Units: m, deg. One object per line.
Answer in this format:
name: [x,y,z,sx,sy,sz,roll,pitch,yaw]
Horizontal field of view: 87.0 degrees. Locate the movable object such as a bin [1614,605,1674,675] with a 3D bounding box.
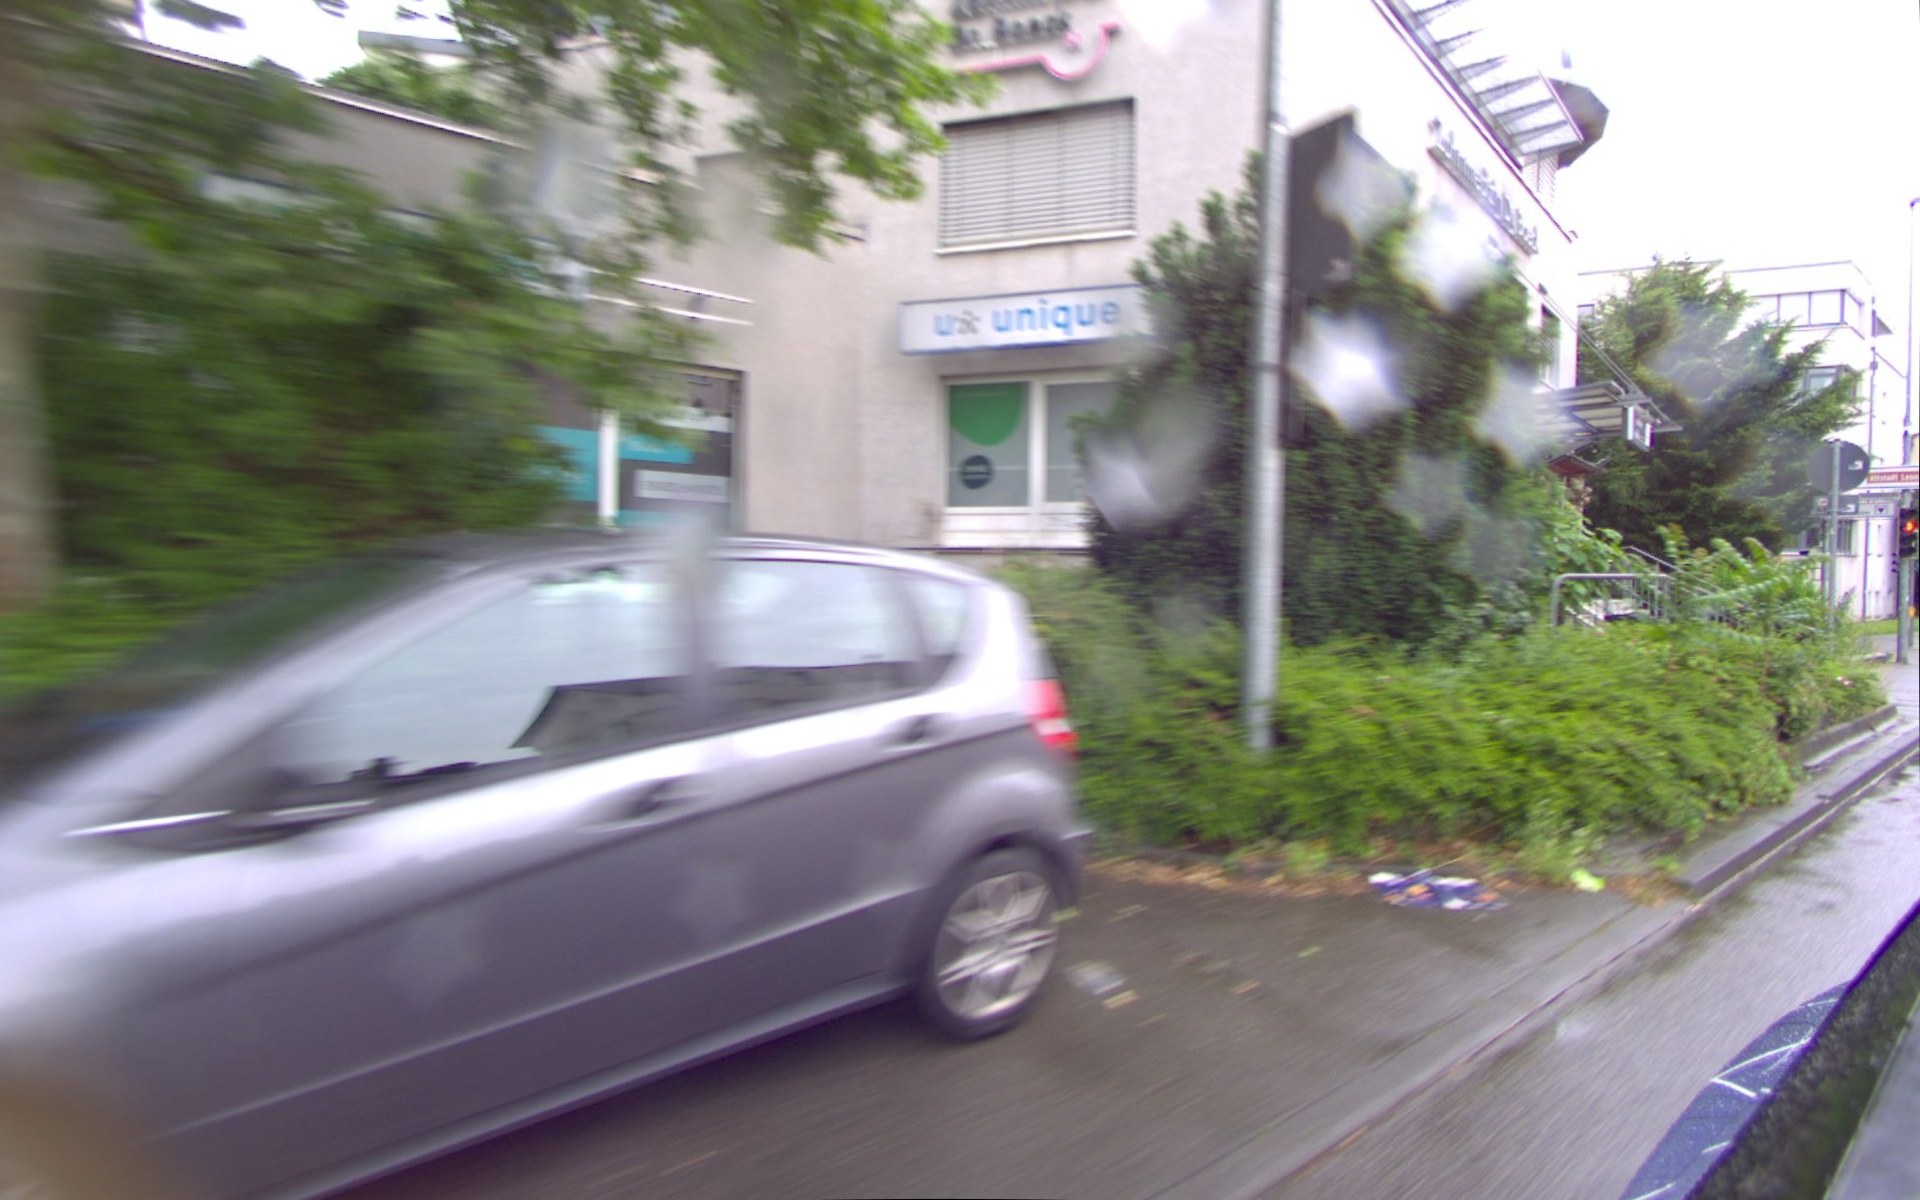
movable object such as a bin: [9.443,0.543,13.971,0.482,0.921,0.484,4,-1,-29]

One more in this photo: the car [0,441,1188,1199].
car: [-1.184,0.509,3.009,3.848,1.592,1.712,0,3,-42]
